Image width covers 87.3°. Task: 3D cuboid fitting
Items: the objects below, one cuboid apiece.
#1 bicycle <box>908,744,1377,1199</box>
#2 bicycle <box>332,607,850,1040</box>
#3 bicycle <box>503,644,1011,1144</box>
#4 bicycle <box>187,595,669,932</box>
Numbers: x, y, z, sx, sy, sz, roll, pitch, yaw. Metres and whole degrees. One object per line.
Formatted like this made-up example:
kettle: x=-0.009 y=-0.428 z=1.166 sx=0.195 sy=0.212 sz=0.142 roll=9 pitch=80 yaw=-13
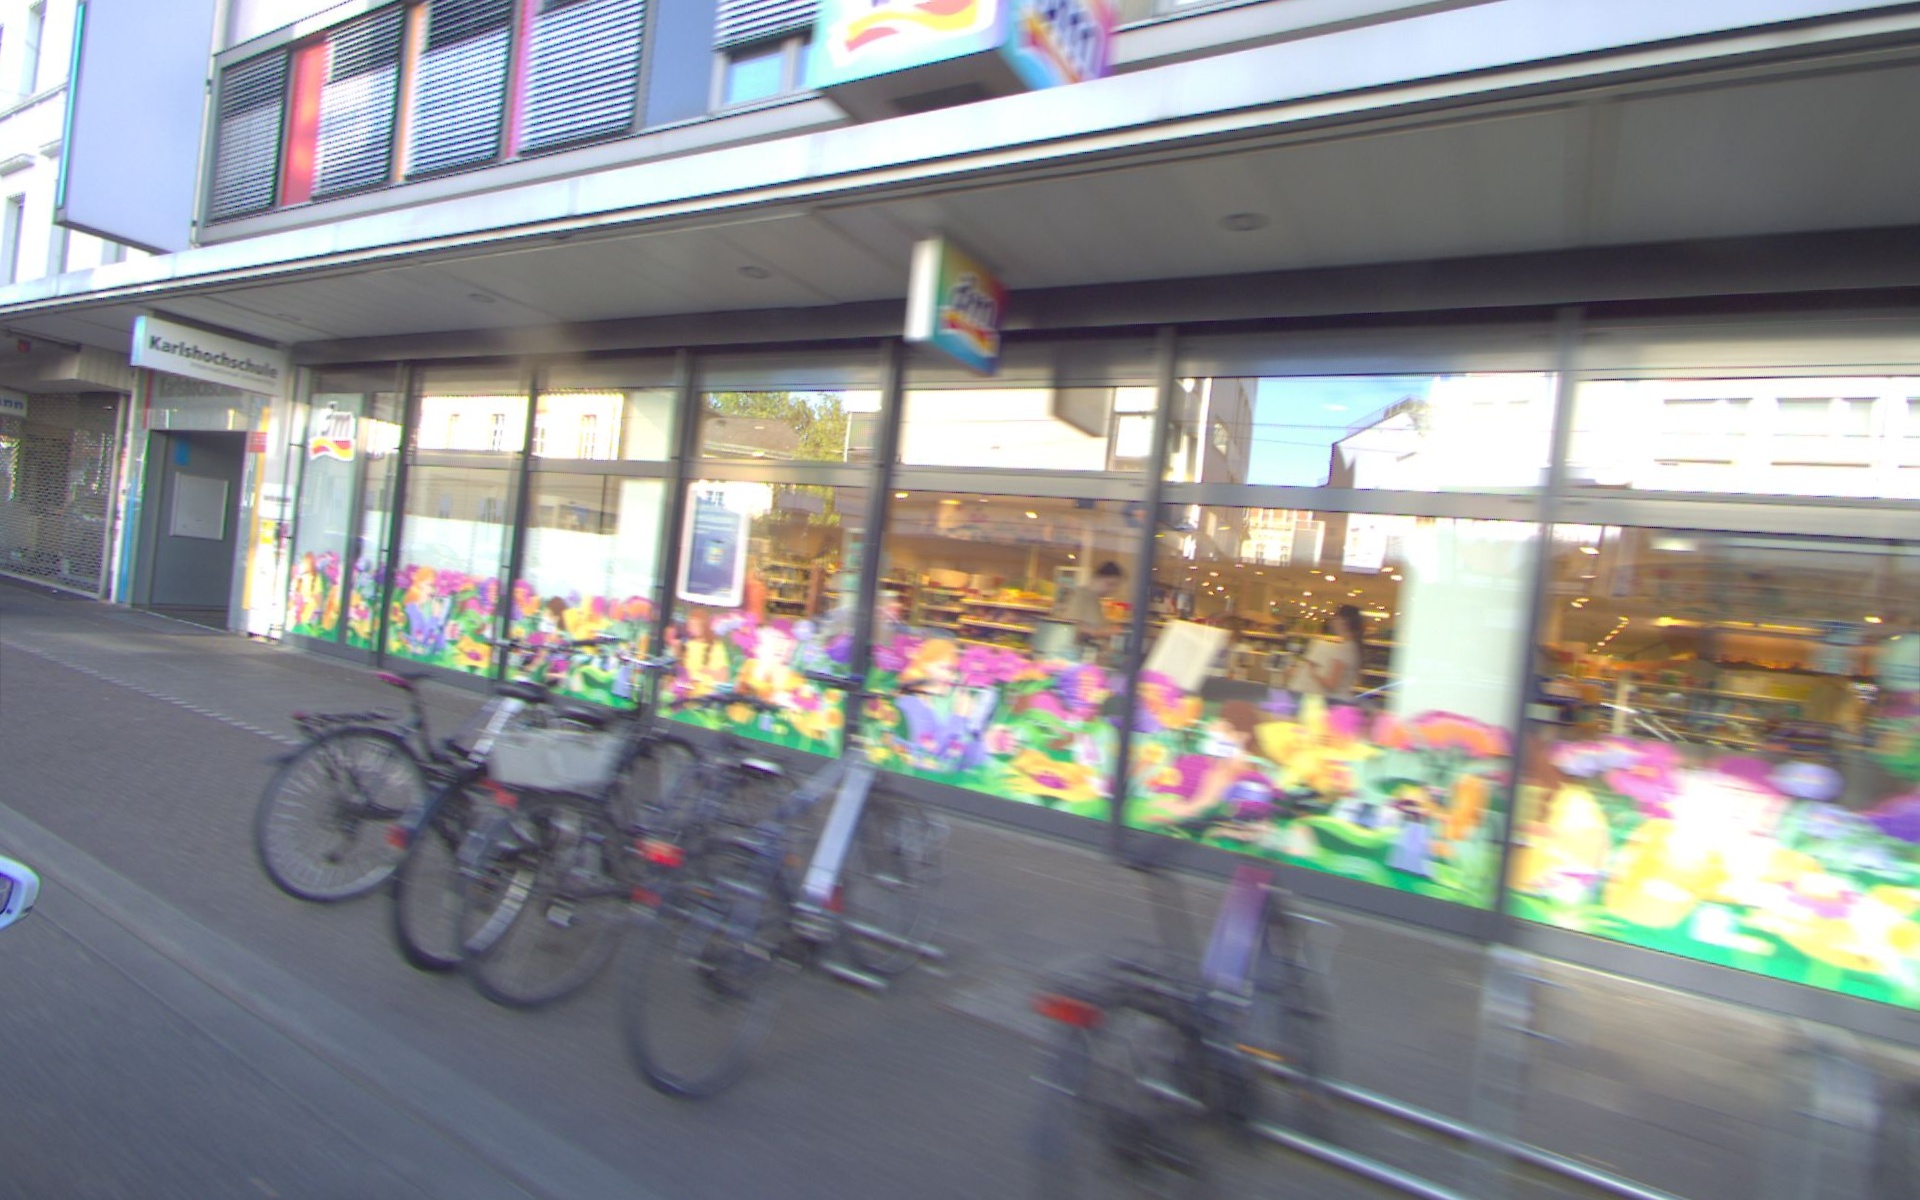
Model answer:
bicycle: x=0.622 y=1.016 z=2.716 sx=0.587 sy=1.045 sz=1.775 roll=7 pitch=1 yaw=31
bicycle: x=-1.291 y=0.722 z=3.929 sx=0.658 sy=1.232 sz=1.789 roll=7 pitch=1 yaw=31
bicycle: x=-0.554 y=0.819 z=3.508 sx=0.577 sy=1.232 sz=1.789 roll=7 pitch=1 yaw=31
bicycle: x=-2.296 y=0.652 z=4.605 sx=0.658 sy=1.174 sz=1.789 roll=7 pitch=1 yaw=31
